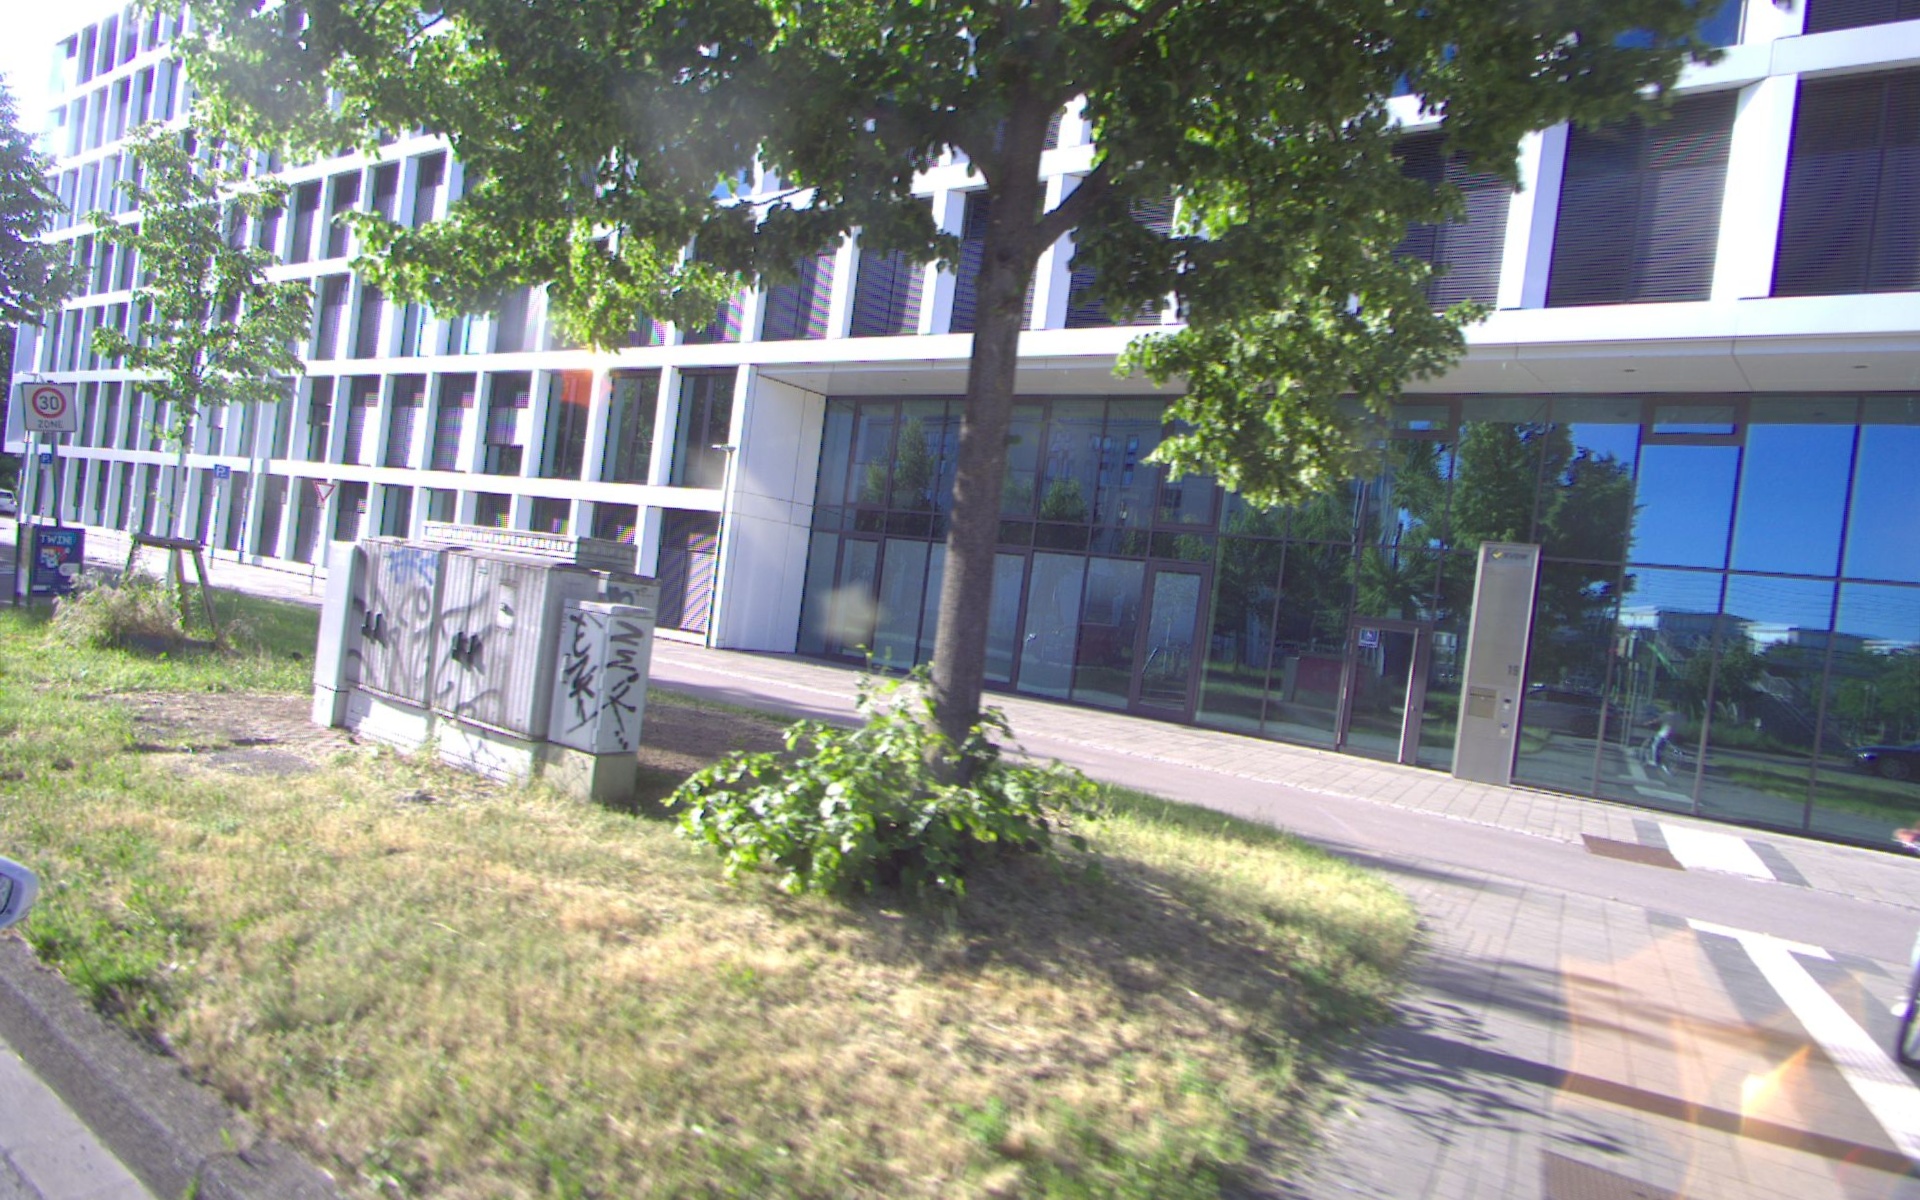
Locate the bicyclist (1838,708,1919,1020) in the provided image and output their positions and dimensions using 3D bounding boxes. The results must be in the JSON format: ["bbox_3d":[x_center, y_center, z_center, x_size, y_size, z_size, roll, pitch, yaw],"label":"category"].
[{"bbox_3d":[5.366,1.422,5.286,0.840,1.550,0.767,7,1,-31],"label":"bicyclist"}]

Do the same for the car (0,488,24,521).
[{"bbox_3d":[-59.790,-6.077,62.084,3.936,1.837,1.996,7,-1,34],"label":"car"}]

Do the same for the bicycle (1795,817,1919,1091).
[{"bbox_3d":[5.366,1.838,5.347,1.941,1.188,0.737,8,0,-31],"label":"bicycle"}]
